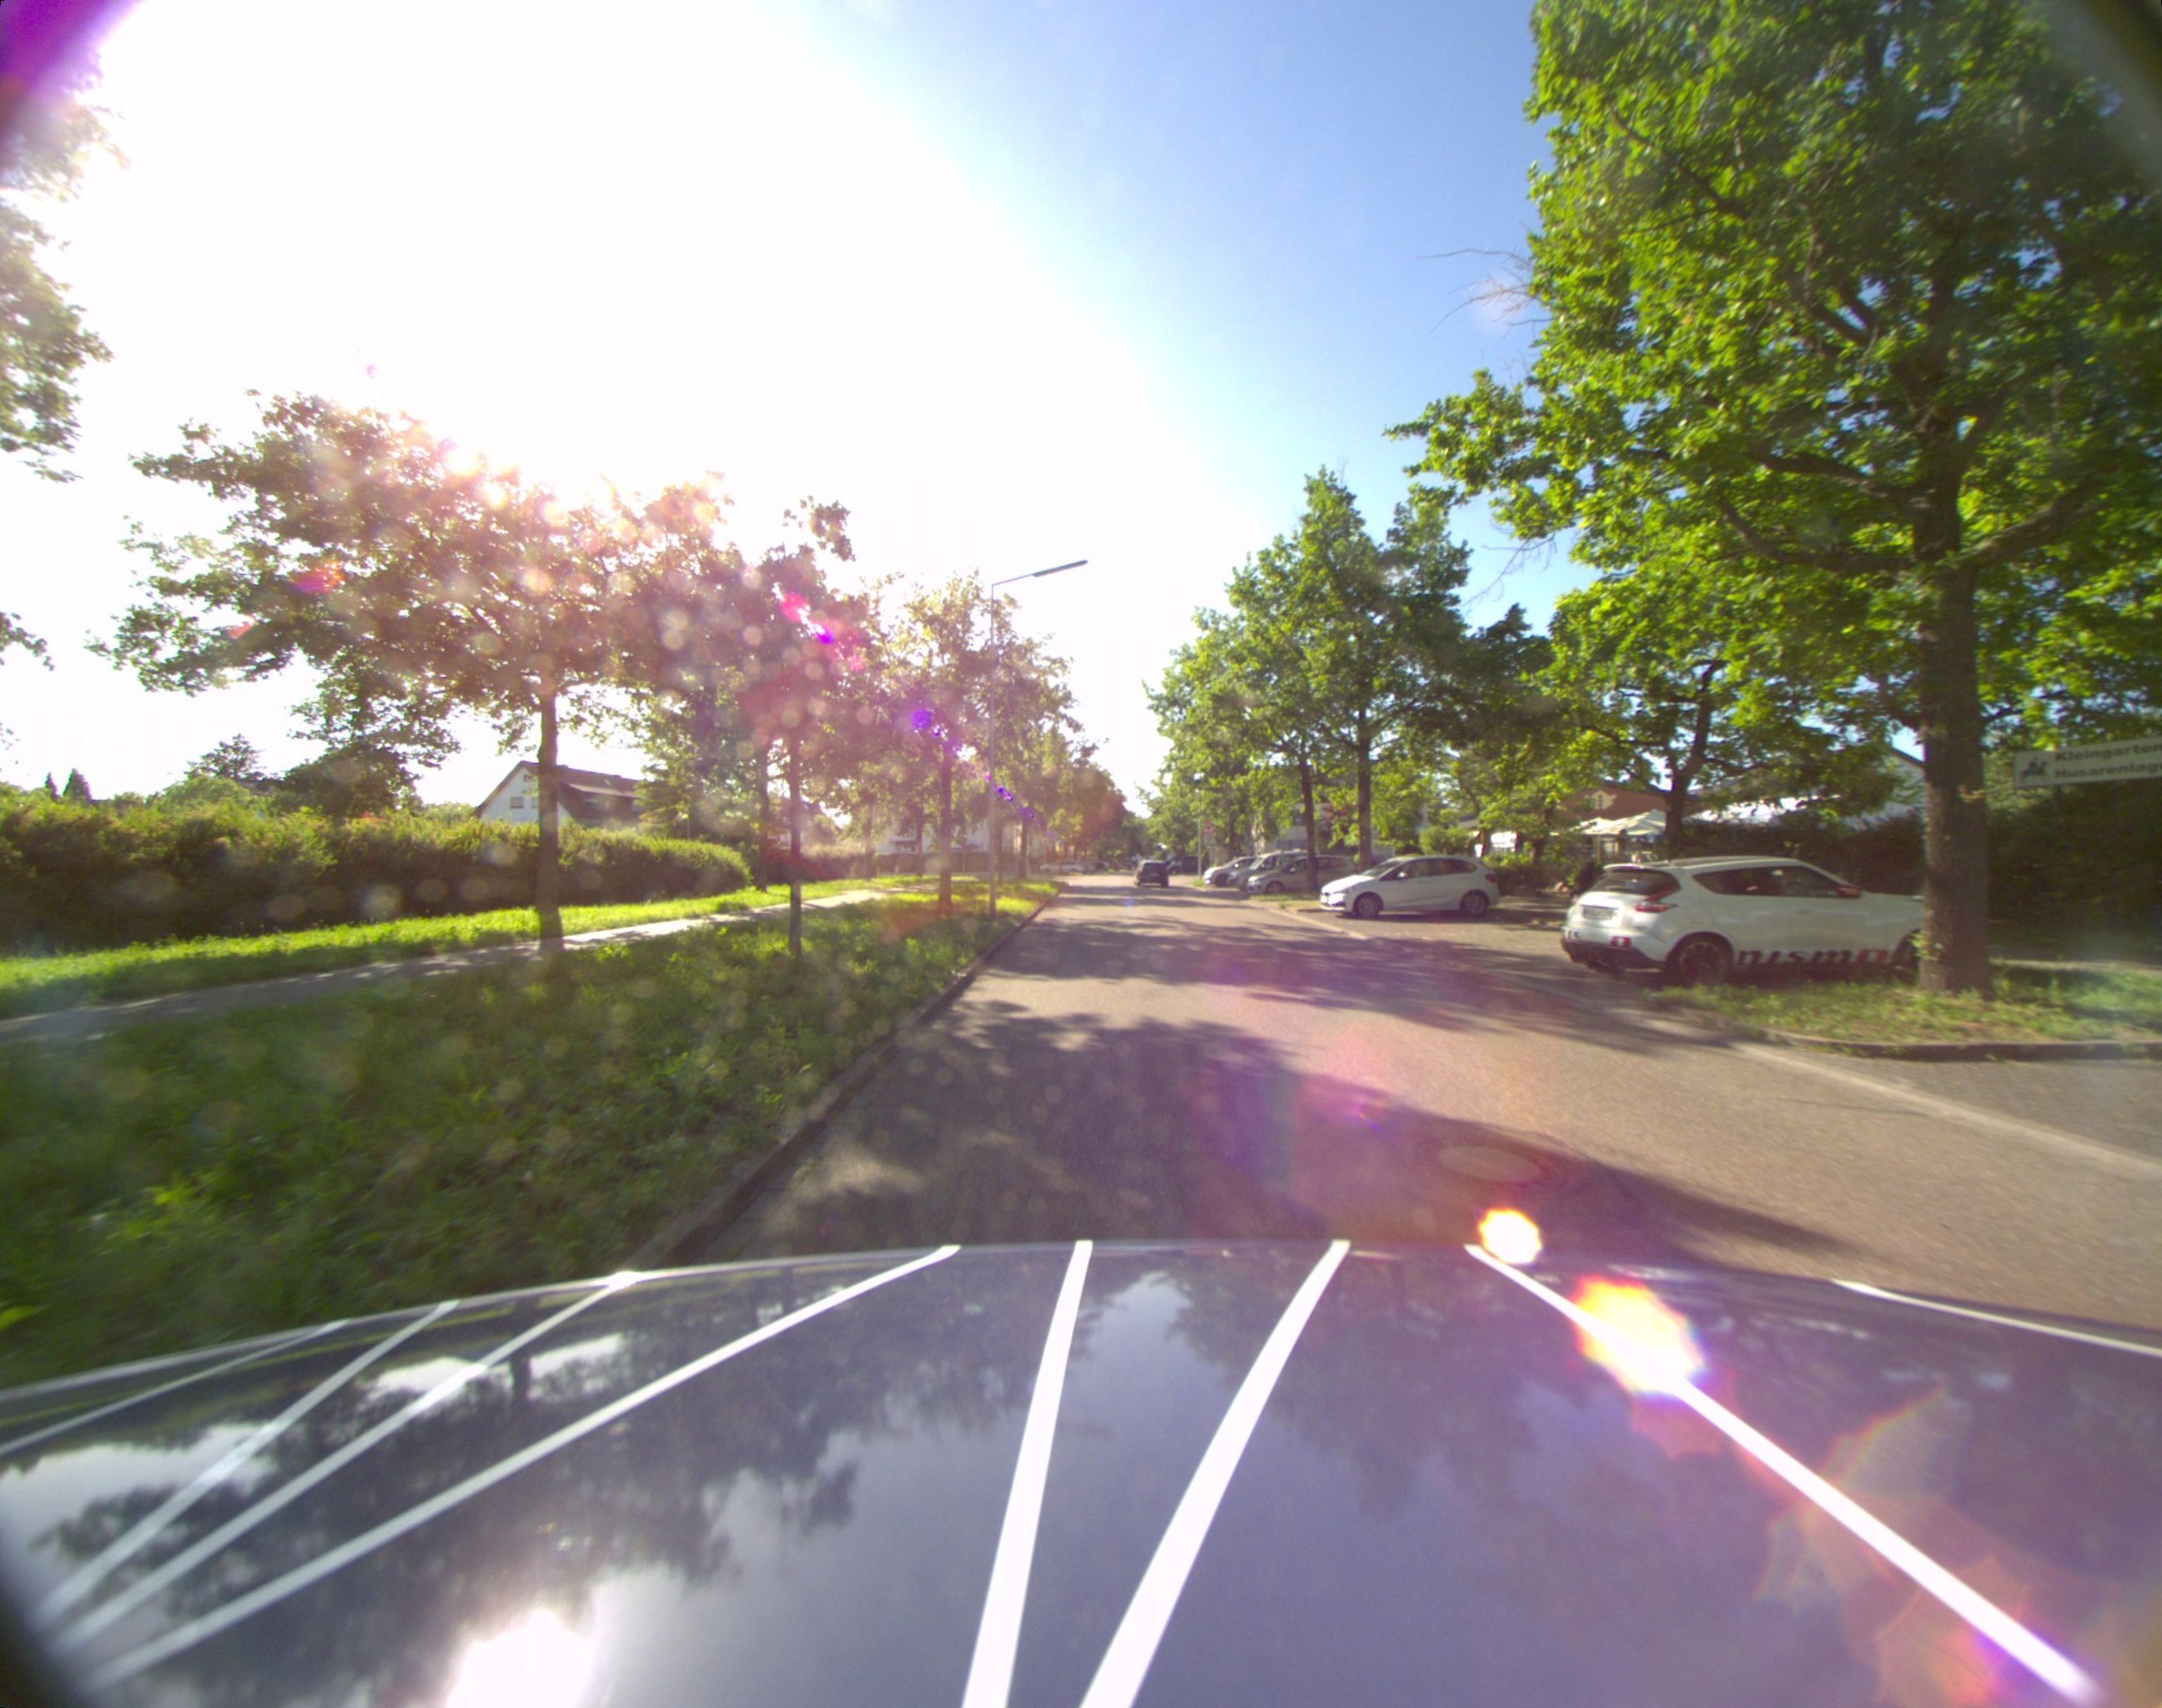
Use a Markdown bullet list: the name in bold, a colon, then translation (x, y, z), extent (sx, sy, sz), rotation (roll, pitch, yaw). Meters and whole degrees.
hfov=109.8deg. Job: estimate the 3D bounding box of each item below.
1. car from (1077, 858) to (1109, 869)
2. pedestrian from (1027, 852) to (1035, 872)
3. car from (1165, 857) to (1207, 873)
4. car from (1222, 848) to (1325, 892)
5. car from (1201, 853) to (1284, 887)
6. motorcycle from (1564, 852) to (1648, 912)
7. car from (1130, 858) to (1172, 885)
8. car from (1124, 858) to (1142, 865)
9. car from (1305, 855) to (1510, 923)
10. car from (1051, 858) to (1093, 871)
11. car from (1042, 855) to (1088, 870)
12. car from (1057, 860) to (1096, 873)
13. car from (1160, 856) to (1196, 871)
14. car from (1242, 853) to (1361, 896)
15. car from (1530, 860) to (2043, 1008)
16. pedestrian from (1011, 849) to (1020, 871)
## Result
- **car**: translation (1.766, 1.374, 110.623), extent (4.511, 1.470, 1.942), rotation (0, 0, 2)
- **pedestrian**: translation (-4.539, 0.723, 69.264), extent (0.665, 1.855, 0.869), rotation (0, 0, 2)
- **car**: translation (10.220, 1.067, 74.190), extent (4.033, 1.470, 1.942), rotation (0, 0, 7)
- **car**: translation (8.806, 0.721, 35.013), extent (4.238, 1.872, 1.999), rotation (-2, 0, 1)
- **car**: translation (8.526, 0.840, 40.407), extent (4.072, 1.633, 1.876), rotation (-2, 0, 3)
- **motorcycle**: translation (13.370, 0.679, 19.434), extent (0.739, 1.424, 1.991), rotation (-4, 0, 1)
- **car**: translation (3.846, 0.939, 42.403), extent (1.689, 1.394, 4.426), rotation (1, 0, -3)
- **car**: translation (12.135, 1.716, 177.344), extent (4.033, 1.767, 1.942), rotation (0, 0, 7)
- **car**: translation (8.366, 0.873, 19.808), extent (4.423, 1.547, 2.088), rotation (-2, 0, 2)
- **car**: translation (-0.965, 1.173, 84.554), extent (4.511, 1.470, 1.942), rotation (0, 0, 2)
- **car**: translation (-1.600, 0.829, 75.902), extent (4.511, 1.470, 1.942), rotation (0, 0, 2)
- **car**: translation (-0.520, 1.419, 89.588), extent (4.511, 1.470, 1.942), rotation (0, 0, 2)
- **car**: translation (11.331, 1.136, 88.899), extent (4.033, 1.767, 1.942), rotation (0, 0, 7)
- **car**: translation (8.576, 0.784, 29.857), extent (4.146, 1.547, 1.866), rotation (-2, 0, 2)
- **car**: translation (8.418, 0.889, 9.440), extent (4.423, 1.502, 2.088), rotation (-2, 0, 0)
- **pedestrian**: translation (-5.983, 0.532, 69.433), extent (0.610, 2.002, 0.835), rotation (0, 0, 12)
